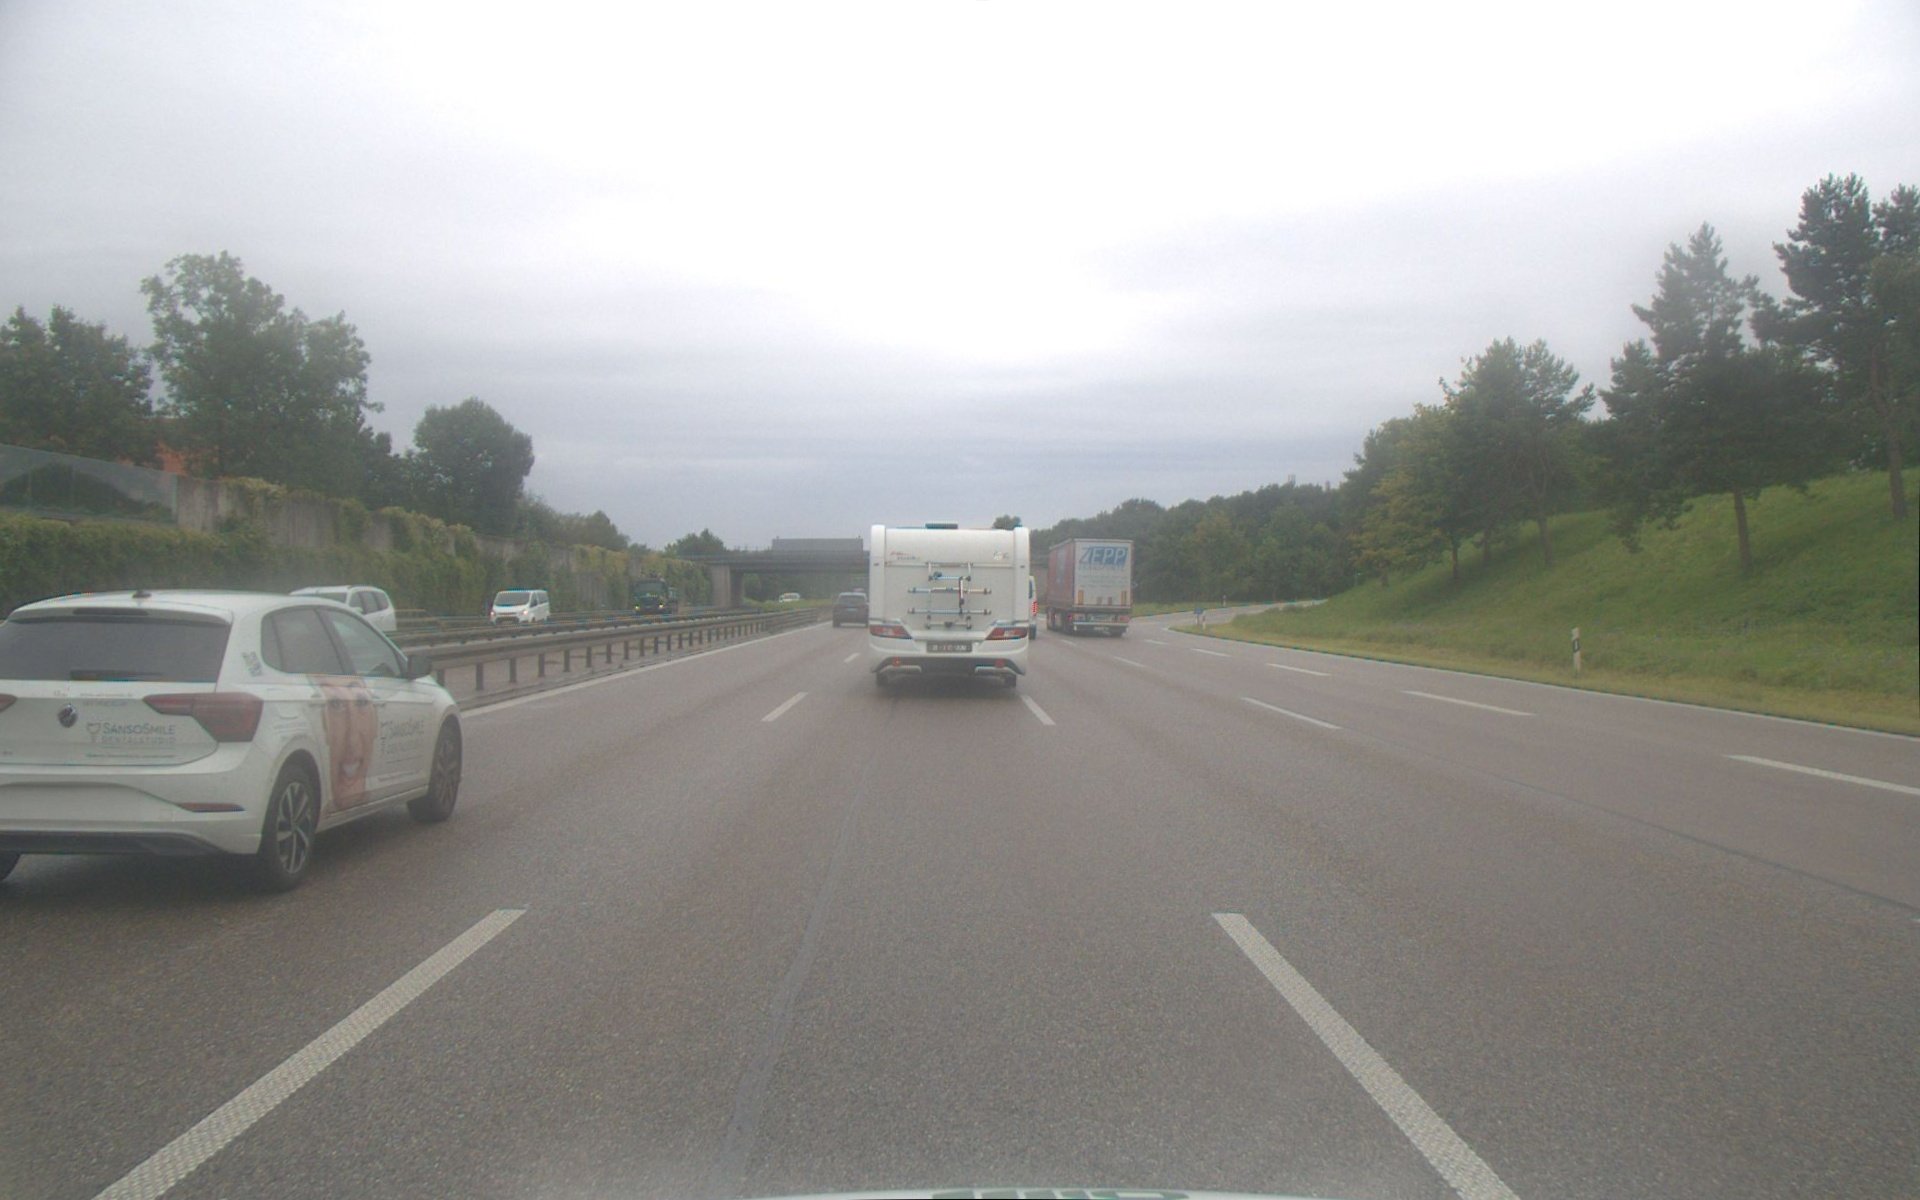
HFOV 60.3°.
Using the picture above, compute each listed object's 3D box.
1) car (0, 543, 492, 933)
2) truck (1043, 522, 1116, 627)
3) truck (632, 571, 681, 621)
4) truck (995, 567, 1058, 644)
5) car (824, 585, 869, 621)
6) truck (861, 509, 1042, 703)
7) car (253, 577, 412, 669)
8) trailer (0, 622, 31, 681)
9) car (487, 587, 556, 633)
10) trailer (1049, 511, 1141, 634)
[{"bbox_3d":[-4.110,0.573,9.311,1.717,1.646,4.662,0,0,-1],"label":"car"},{"bbox_3d":[5.800,-1.201,80.974,2.986,4.924,5.849,1,0,-1],"label":"truck"},{"bbox_3d":[-24.652,-0.294,134.741,2.637,3.843,8.333,1,0,-2],"label":"truck"},{"bbox_3d":[2.543,0.215,64.498,2.012,2.818,5.547,1,0,-2],"label":"truck"},{"bbox_3d":[-5.477,0.148,80.598,1.953,1.628,5.121,1,0,-2],"label":"car"},{"bbox_3d":[-0.187,0.098,26.847,2.607,2.790,5.076,1,0,-2],"label":"truck"},{"bbox_3d":[-13.076,0.459,34.745,1.752,1.782,4.534,1,0,-3],"label":"car"},{"bbox_3d":[-22.346,1.130,35.313,2.086,1.289,5.246,1,0,-1],"label":"trailer"},{"bbox_3d":[-20.367,0.466,77.070,1.953,2.049,4.955,1,0,-2],"label":"car"},{"bbox_3d":[5.853,-1.112,73.754,3.036,5.008,11.789,1,0,0],"label":"trailer"}]
